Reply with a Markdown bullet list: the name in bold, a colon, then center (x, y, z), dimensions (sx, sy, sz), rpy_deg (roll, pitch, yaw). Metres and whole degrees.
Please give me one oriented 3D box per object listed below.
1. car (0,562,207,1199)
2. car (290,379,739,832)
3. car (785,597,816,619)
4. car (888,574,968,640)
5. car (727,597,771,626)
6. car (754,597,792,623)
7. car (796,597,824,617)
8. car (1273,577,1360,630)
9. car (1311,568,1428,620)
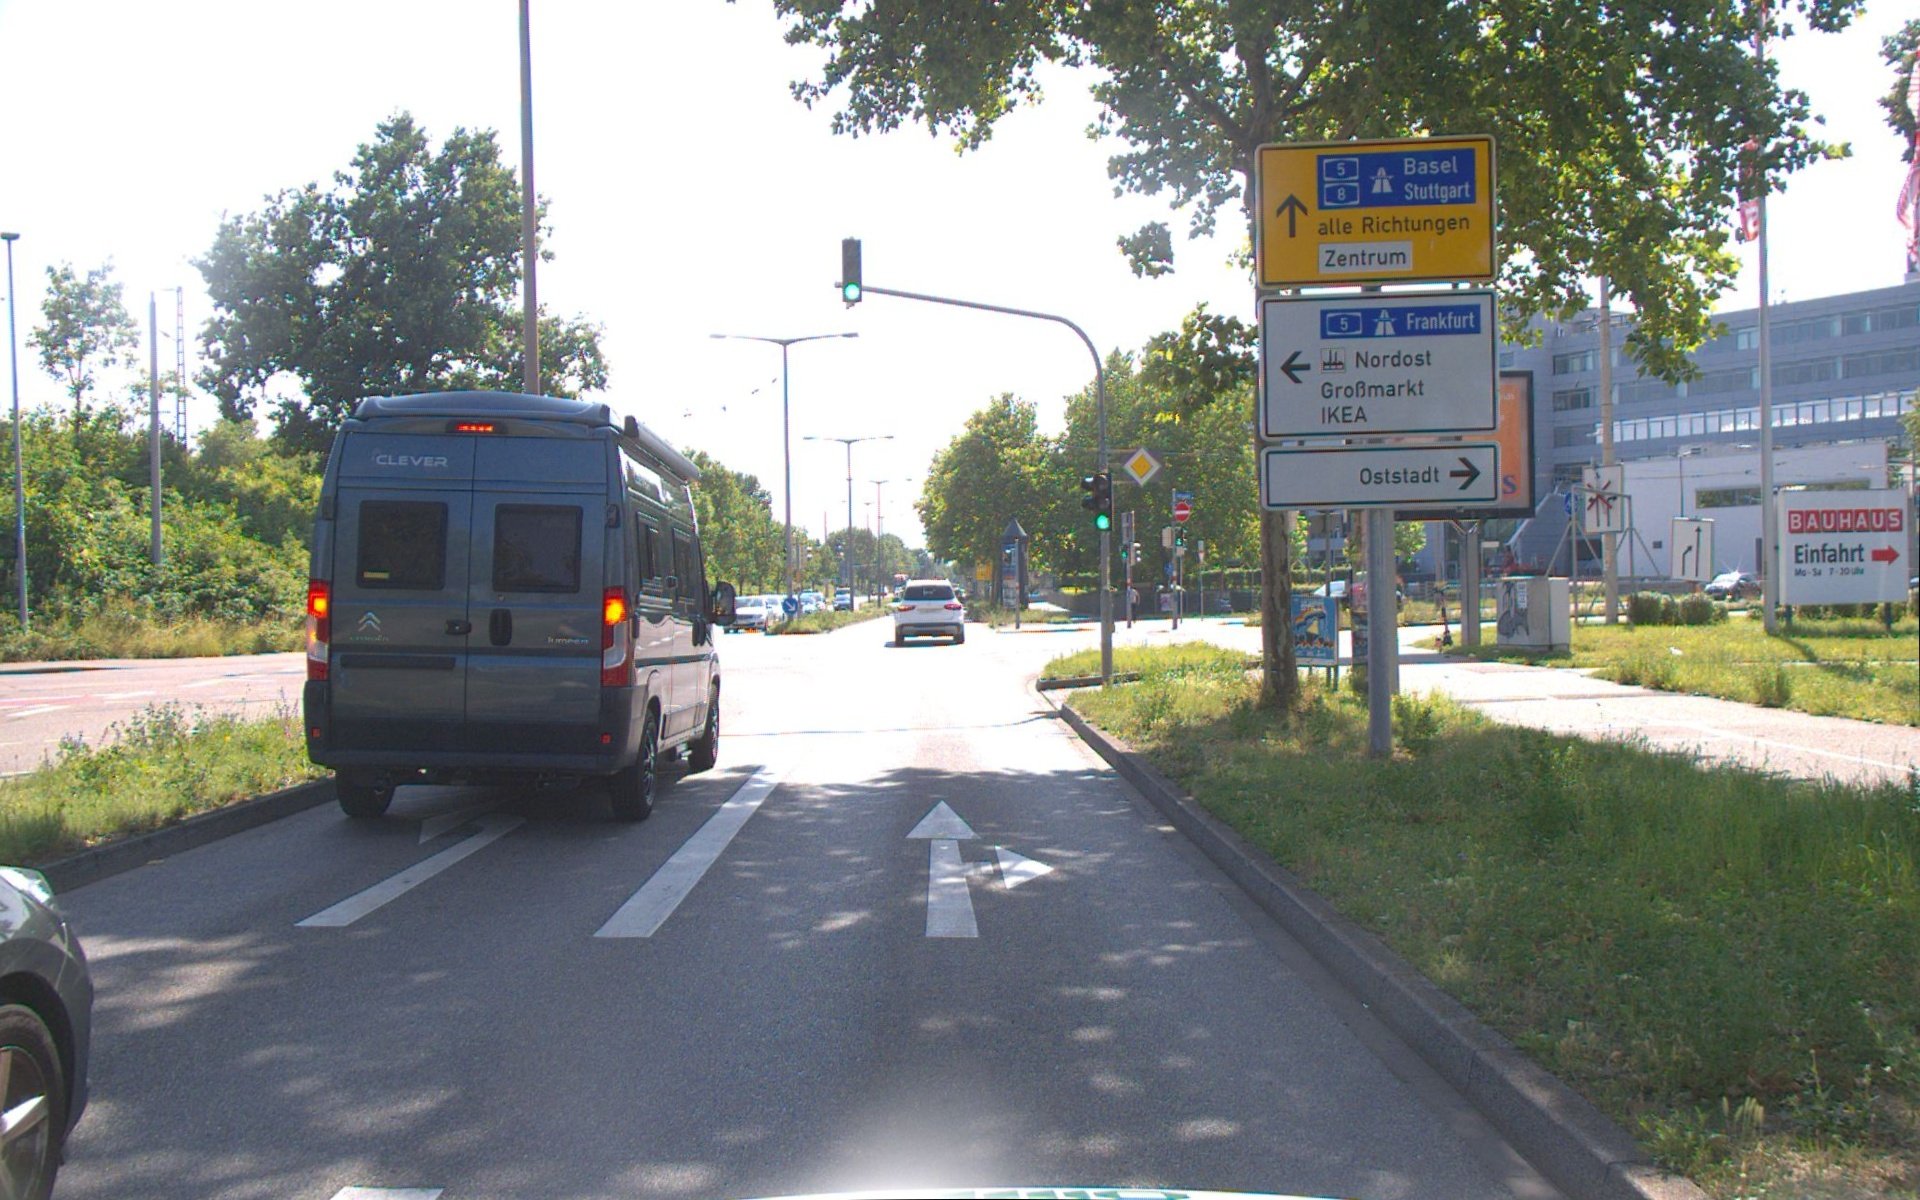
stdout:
- **car**: center (-2.721, 0.688, 2.236), dimensions (1.657, 1.531, 3.885), rpy_deg (1, 0, -1)
- **car**: center (-2.997, 0.031, 12.361), dimensions (2.039, 2.703, 4.873), rpy_deg (0, 0, 0)
- **car**: center (-8.420, 0.421, 87.634), dimensions (1.341, 1.131, 3.206), rpy_deg (-2, 0, -1)
- **car**: center (-0.897, 0.141, 43.707), dimensions (1.818, 1.635, 3.996), rpy_deg (0, 1, -6)
- **car**: center (-8.429, 0.446, 66.217), dimensions (1.341, 1.131, 3.206), rpy_deg (-2, 0, -1)
- **car**: center (-8.326, 0.434, 73.743), dimensions (1.341, 1.131, 3.206), rpy_deg (-2, 0, -1)
- **car**: center (-8.514, 0.388, 94.049), dimensions (1.341, 1.131, 3.206), rpy_deg (-2, 0, -1)
- **car**: center (9.332, 0.080, 43.556), dimensions (1.341, 1.310, 3.999), rpy_deg (-1, 0, -1)
- **car**: center (14.660, -0.225, 59.262), dimensions (3.721, 1.788, 1.599), rpy_deg (1, 0, -11)
